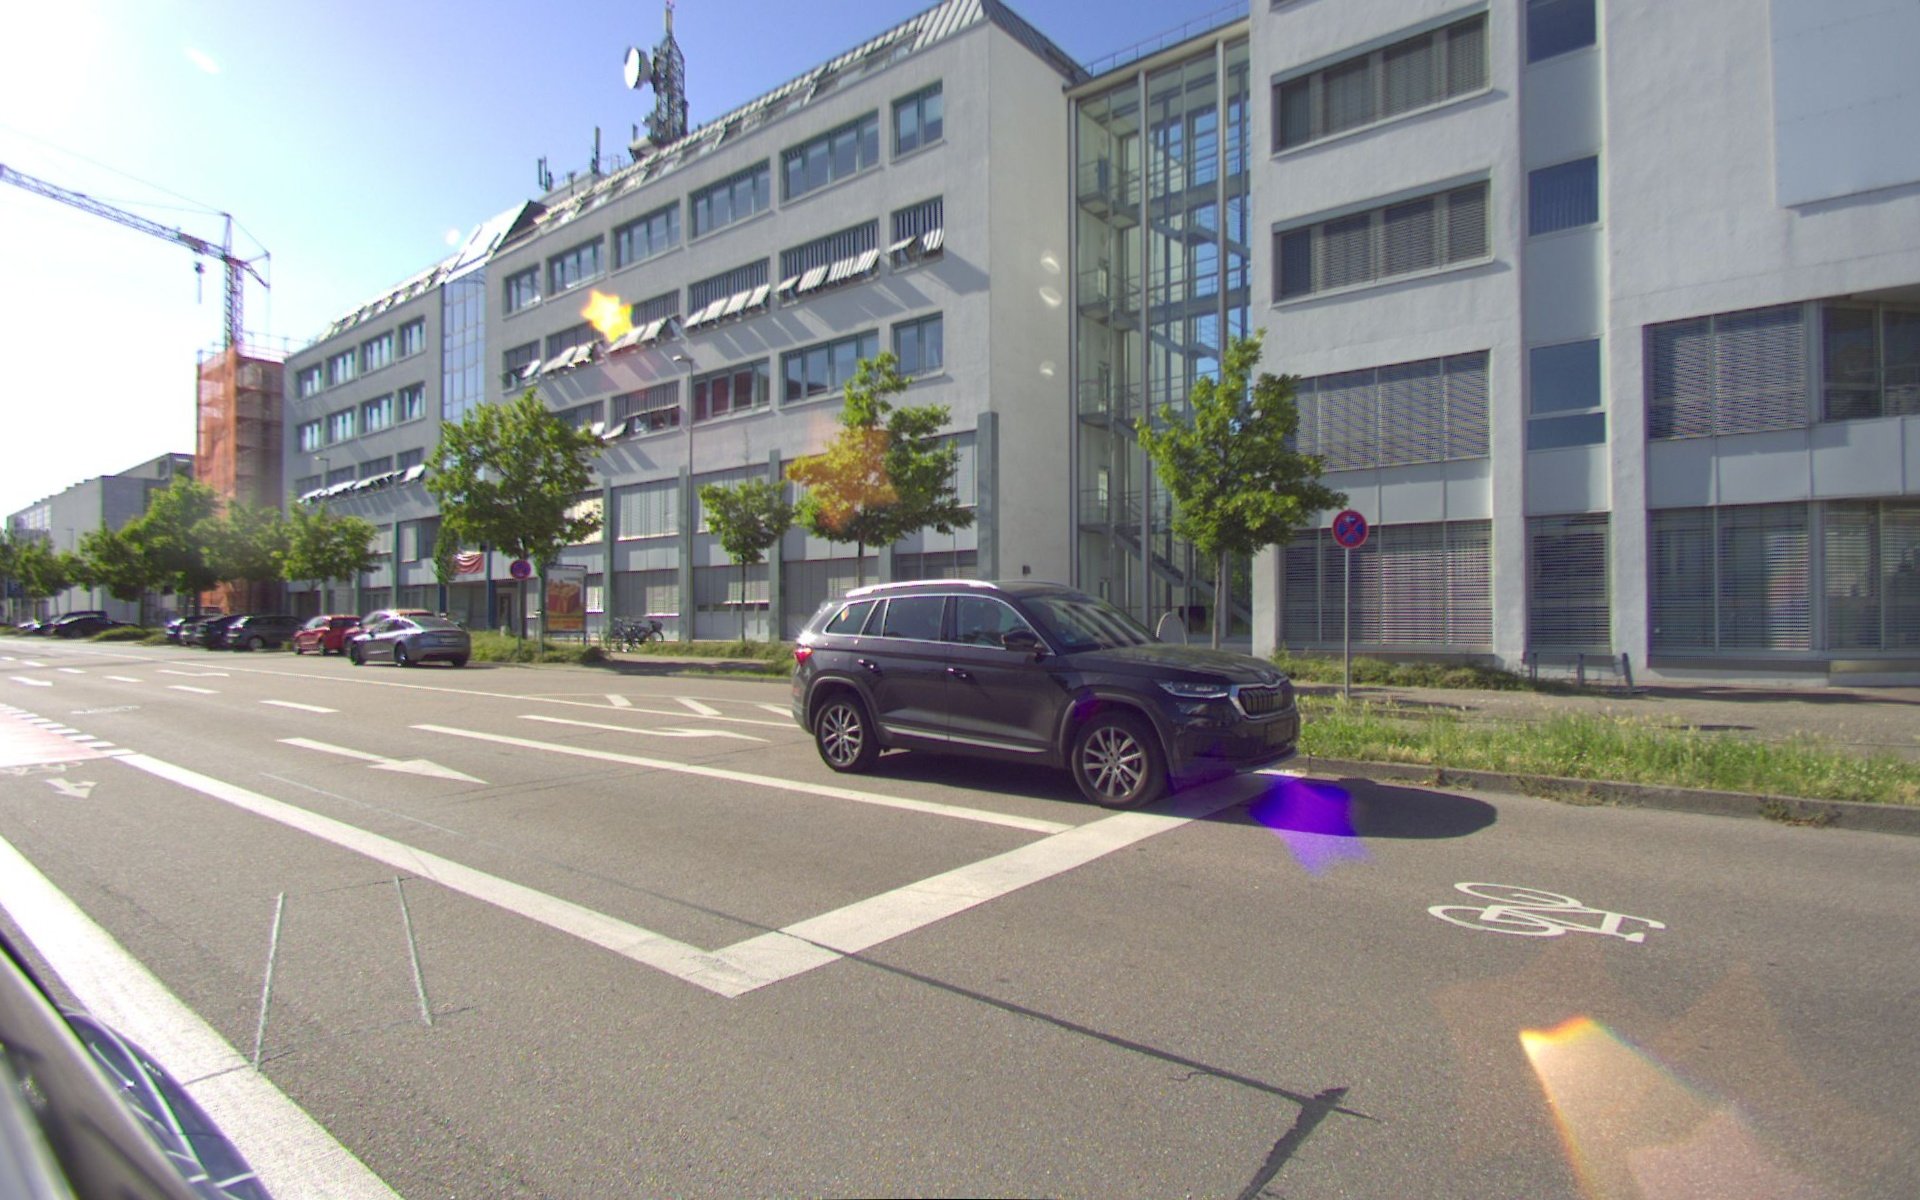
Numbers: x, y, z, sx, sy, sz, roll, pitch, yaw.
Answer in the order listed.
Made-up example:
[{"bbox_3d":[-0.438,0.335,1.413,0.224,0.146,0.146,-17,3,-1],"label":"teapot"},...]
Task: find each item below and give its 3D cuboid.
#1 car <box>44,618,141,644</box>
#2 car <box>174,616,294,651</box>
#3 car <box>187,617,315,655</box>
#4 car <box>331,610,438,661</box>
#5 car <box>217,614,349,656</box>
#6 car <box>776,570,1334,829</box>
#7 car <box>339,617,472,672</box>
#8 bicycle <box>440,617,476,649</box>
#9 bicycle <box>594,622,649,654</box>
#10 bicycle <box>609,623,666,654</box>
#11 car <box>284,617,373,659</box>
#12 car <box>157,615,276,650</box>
[{"bbox_3d":[-55.022,1.950,64.276,1.973,1.442,4.347,-1,1,36],"label":"car"},{"bbox_3d":[-34.398,1.555,48.057,1.691,1.442,4.345,-1,1,37],"label":"car"},{"bbox_3d":[-31.438,1.552,44.975,1.690,1.442,4.346,-1,1,36],"label":"car"},{"bbox_3d":[-19.798,1.187,34.752,4.304,1.619,1.672,-1,1,38],"label":"car"},{"bbox_3d":[-28.879,1.462,43.293,1.690,1.549,4.348,-1,1,35],"label":"car"},{"bbox_3d":[0.595,0.642,8.534,4.474,1.640,1.736,-1,1,40],"label":"car"},{"bbox_3d":[-16.247,1.264,29.574,4.539,1.479,1.672,-1,-2,37],"label":"car"},{"bbox_3d":[-21.790,1.432,43.913,0.701,1.357,2.233,3,-3,-45],"label":"bicycle"},{"bbox_3d":[-11.858,1.330,35.473,1.746,1.077,0.556,2,-3,-43],"label":"bicycle"},{"bbox_3d":[-11.178,1.336,35.090,1.767,1.077,0.622,2,-3,-43],"label":"bicycle"},{"bbox_3d":[-23.680,1.397,37.910,3.868,1.442,1.671,-1,1,40],"label":"car"},{"bbox_3d":[-36.263,1.559,49.457,1.691,1.442,4.344,-1,1,37],"label":"car"}]
